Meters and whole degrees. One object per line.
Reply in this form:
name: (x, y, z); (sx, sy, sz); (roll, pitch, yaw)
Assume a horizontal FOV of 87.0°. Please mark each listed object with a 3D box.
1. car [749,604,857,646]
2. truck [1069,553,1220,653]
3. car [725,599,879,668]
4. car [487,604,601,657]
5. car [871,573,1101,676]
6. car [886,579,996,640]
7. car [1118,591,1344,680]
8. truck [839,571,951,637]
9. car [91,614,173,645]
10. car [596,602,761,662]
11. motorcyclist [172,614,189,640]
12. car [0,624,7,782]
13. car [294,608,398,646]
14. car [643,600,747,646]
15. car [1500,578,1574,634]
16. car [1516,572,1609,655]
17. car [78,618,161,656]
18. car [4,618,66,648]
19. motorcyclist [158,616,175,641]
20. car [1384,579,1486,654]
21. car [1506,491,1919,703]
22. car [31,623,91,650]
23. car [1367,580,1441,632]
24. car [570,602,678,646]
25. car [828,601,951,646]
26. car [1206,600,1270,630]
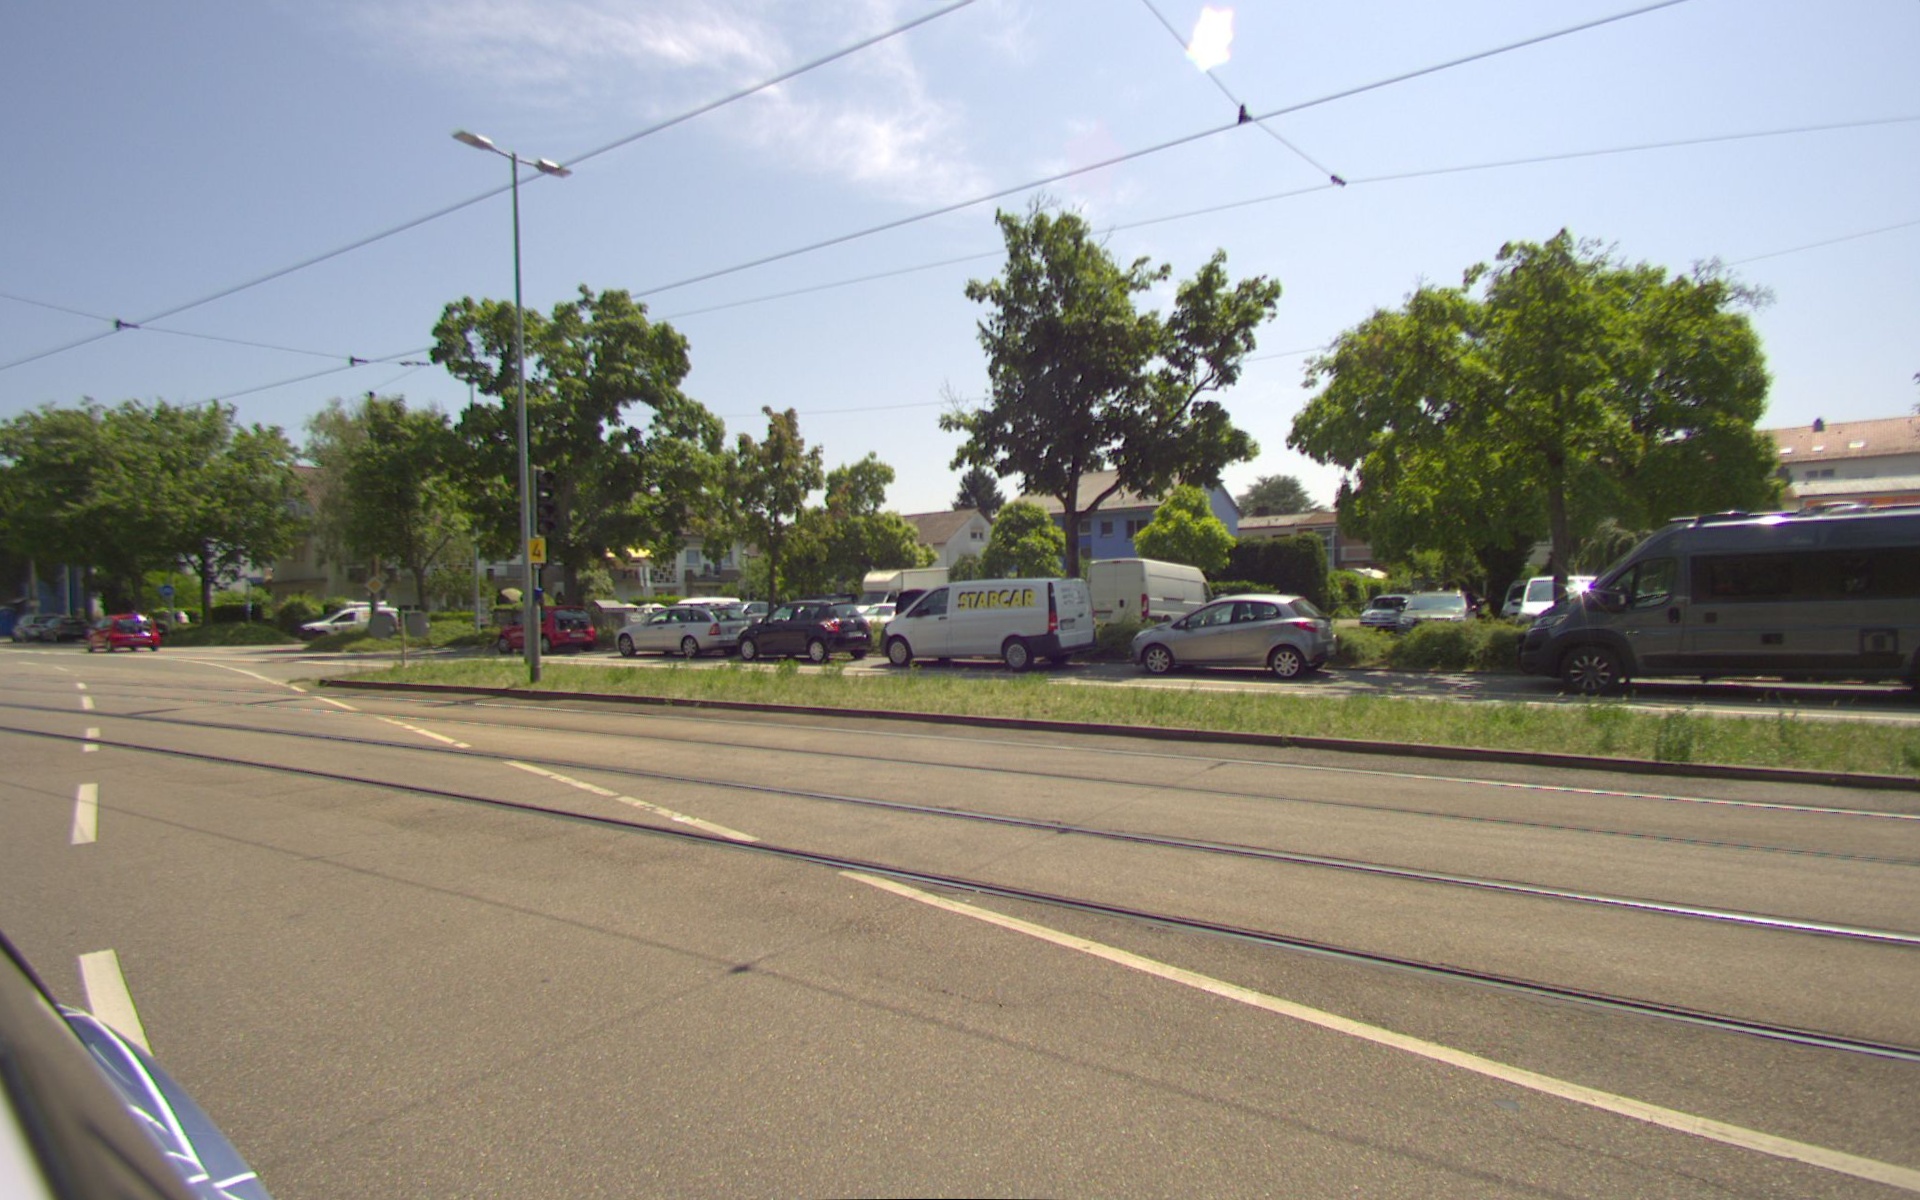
car: (-6.219, 0.967, 40.346); (1.928, 1.520, 4.085); (-1, 0, 36)
truck: (5.768, 0.089, 31.055); (2.427, 2.780, 5.529); (-1, 0, 35)
car: (-4.037, 0.816, 25.592); (3.778, 1.495, 1.600); (-1, 3, 37)
car: (-13.240, 0.933, 32.155); (3.720, 1.557, 1.657); (-1, 1, 37)
car: (0.499, 0.497, 22.274); (4.797, 1.951, 1.846); (-1, 3, 37)
car: (-0.593, 0.313, 35.464); (1.851, 2.010, 4.176); (-1, 0, 33)
car: (5.047, 0.640, 19.041); (3.830, 1.450, 1.393); (-1, 3, 35)
truck: (-3.286, 0.146, 53.205); (2.144, 3.252, 6.923); (-1, 0, 32)
car: (-43.715, 1.543, 53.408); (4.794, 1.467, 1.880); (-1, 1, 32)
car: (-7.970, 0.887, 28.537); (4.756, 1.437, 1.706); (-1, 3, 33)
motorcyclist: (-47.667, 1.635, 61.859); (0.661, 1.514, 0.581); (-1, 2, 36)
car: (-8.014, 0.815, 6.850); (1.732, 1.595, 4.437); (-3, 1, -37)
car: (-30.374, 1.322, 50.137); (4.169, 1.719, 1.744); (-1, 0, -40)
car: (-11.290, 0.939, 43.413); (1.669, 1.849, 4.229); (-1, 0, 35)
car: (20.222, 0.171, 35.395); (1.775, 1.834, 4.091); (-1, 0, 36)
car: (14.898, 0.299, 24.917); (1.791, 1.827, 4.681); (-1, 0, 33)
car: (-33.786, 1.464, 40.668); (3.597, 1.420, 1.643); (-1, -1, 34)
car: (-57.928, 2.052, 63.376); (4.678, 1.701, 1.954); (-1, 1, 36)
motorcyclist: (-49.552, 1.781, 63.206); (0.723, 1.514, 0.581); (-1, 2, 36)
car: (12.495, 0.395, 26.469); (1.851, 1.779, 4.176); (-1, 0, 33)
car: (11.486, -0.094, 14.542); (6.158, 2.676, 2.379); (-1, 3, 35)
car: (-53.403, 2.143, 60.091); (4.117, 1.498, 1.662); (-1, 1, 34)
car: (17.129, 0.198, 38.962); (1.775, 1.834, 4.091); (-1, 0, 36)
car: (-15.388, 1.068, 46.561); (2.054, 1.871, 4.415); (-1, 0, 31)
car: (-2.492, 0.831, 37.046); (2.052, 1.500, 4.723); (-1, 0, 33)
car: (12.351, 0.633, 44.855); (1.507, 1.179, 3.712); (-1, 0, 36)
